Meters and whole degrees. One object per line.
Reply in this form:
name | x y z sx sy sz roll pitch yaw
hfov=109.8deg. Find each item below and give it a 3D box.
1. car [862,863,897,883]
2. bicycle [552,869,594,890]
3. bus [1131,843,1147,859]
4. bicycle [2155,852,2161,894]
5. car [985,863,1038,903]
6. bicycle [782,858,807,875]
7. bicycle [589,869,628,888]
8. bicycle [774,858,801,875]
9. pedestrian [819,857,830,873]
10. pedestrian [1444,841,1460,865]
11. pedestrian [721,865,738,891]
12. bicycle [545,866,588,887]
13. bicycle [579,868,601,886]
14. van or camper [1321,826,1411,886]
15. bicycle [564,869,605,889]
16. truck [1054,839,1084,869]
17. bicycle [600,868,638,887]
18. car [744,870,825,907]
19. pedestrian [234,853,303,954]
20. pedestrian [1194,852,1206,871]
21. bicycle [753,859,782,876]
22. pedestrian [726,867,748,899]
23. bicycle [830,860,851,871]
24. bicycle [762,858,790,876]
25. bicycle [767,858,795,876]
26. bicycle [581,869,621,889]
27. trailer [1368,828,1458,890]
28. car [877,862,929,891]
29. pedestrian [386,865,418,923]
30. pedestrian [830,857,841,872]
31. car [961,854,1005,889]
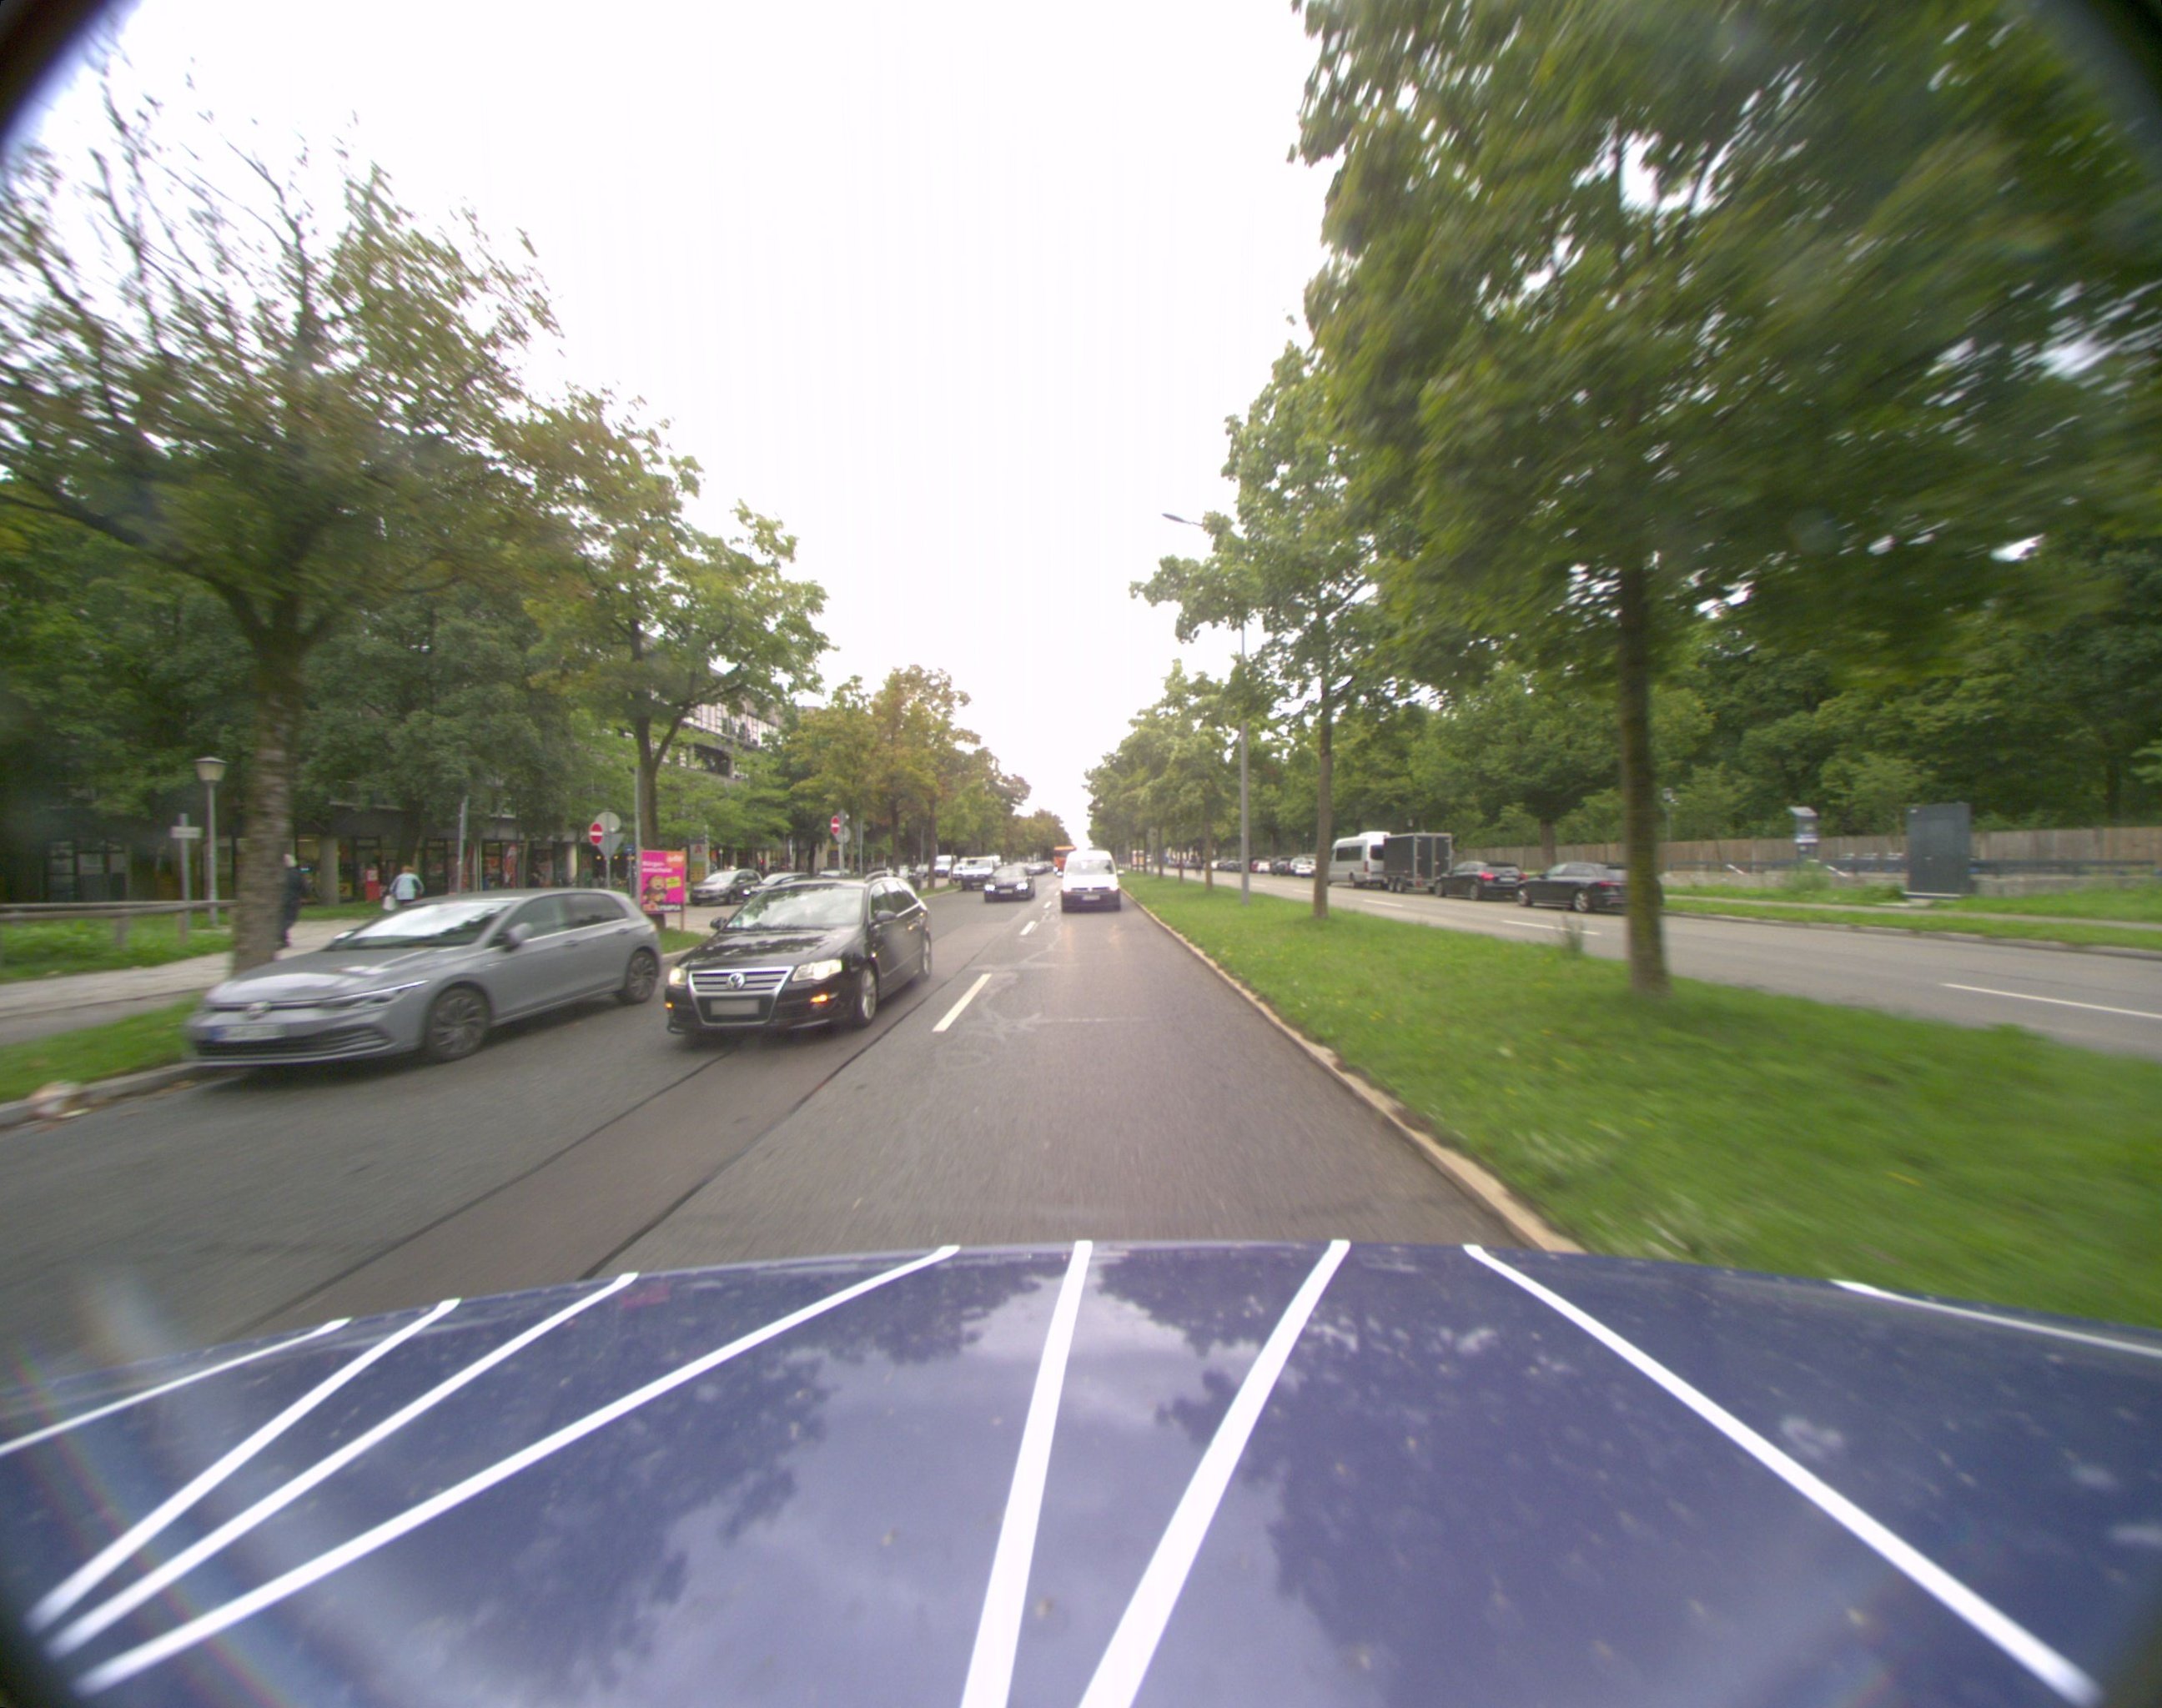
car | -16.204 1.536 61.347 1.827 1.521 4.601 0 -1 -3
bicycle | -28.889 1.461 43.214 2.080 1.114 0.455 -1 0 0
bus | 12.365 -0.752 162.349 2.676 3.279 11.926 0 0 1
bicycle | 24.945 0.399 16.783 1.824 0.924 0.433 -2 1 0
car | -2.816 1.159 31.765 1.763 1.405 4.462 -3 0 0
bicycle | -28.616 1.256 75.906 2.316 1.613 0.648 -1 0 -16
bicycle | -28.855 1.497 46.408 2.080 1.114 0.455 -1 0 0
bicycle | -28.211 1.194 73.147 2.313 1.613 0.649 -1 0 1
pedestrian | -27.416 1.165 81.206 0.769 1.689 0.875 0 2 15
pedestrian | 27.473 -0.056 56.261 0.770 1.757 0.874 0 1 -3
pedestrian | -20.751 1.404 44.850 0.659 1.533 0.633 1 1 25
bicycle | -28.754 1.247 42.462 2.080 1.114 0.455 -1 0 0
bicycle | -32.531 1.528 50.343 0.455 1.113 1.554 -1 0 -3
van or camper | 14.778 0.096 40.004 2.040 2.821 7.547 0 0 1
bicycle | -28.887 1.447 44.189 2.080 1.114 0.455 -1 0 0
truck | -1.303 -0.022 89.206 3.046 3.170 9.133 -2 0 1
bicycle | -28.902 1.470 47.567 2.080 1.114 0.455 -1 0 0
car | -13.286 1.497 34.314 1.726 1.371 4.352 -2 0 2
pedestrian | -14.420 0.855 13.509 0.642 1.720 0.599 -3 1 -32
pedestrian | 10.516 0.632 67.274 0.872 1.689 0.771 0 2 21
bicycle | -28.403 1.236 68.828 2.313 1.523 0.649 -1 0 1
pedestrian | -17.735 1.496 39.139 0.658 1.584 0.755 -1 0 19
bicycle | -28.041 1.332 88.586 2.313 1.294 0.649 -1 0 2
bicycle | -28.501 1.179 70.993 2.313 1.613 0.649 -1 0 1
bicycle | -28.408 1.201 71.898 2.313 1.613 0.649 -1 0 1
bicycle | -28.640 1.489 45.348 2.080 1.114 0.455 -1 0 0
trailer | 14.681 0.222 33.956 2.022 2.575 4.659 0 0 1
car | -9.947 1.228 42.752 1.732 1.424 4.691 -3 0 0
pedestrian | -19.137 1.109 21.421 0.581 1.565 0.779 -3 1 -40
pedestrian | -27.057 1.136 83.633 0.872 1.689 0.771 0 2 15
car | -5.860 1.019 46.053 1.886 1.916 4.933 -3 0 1
